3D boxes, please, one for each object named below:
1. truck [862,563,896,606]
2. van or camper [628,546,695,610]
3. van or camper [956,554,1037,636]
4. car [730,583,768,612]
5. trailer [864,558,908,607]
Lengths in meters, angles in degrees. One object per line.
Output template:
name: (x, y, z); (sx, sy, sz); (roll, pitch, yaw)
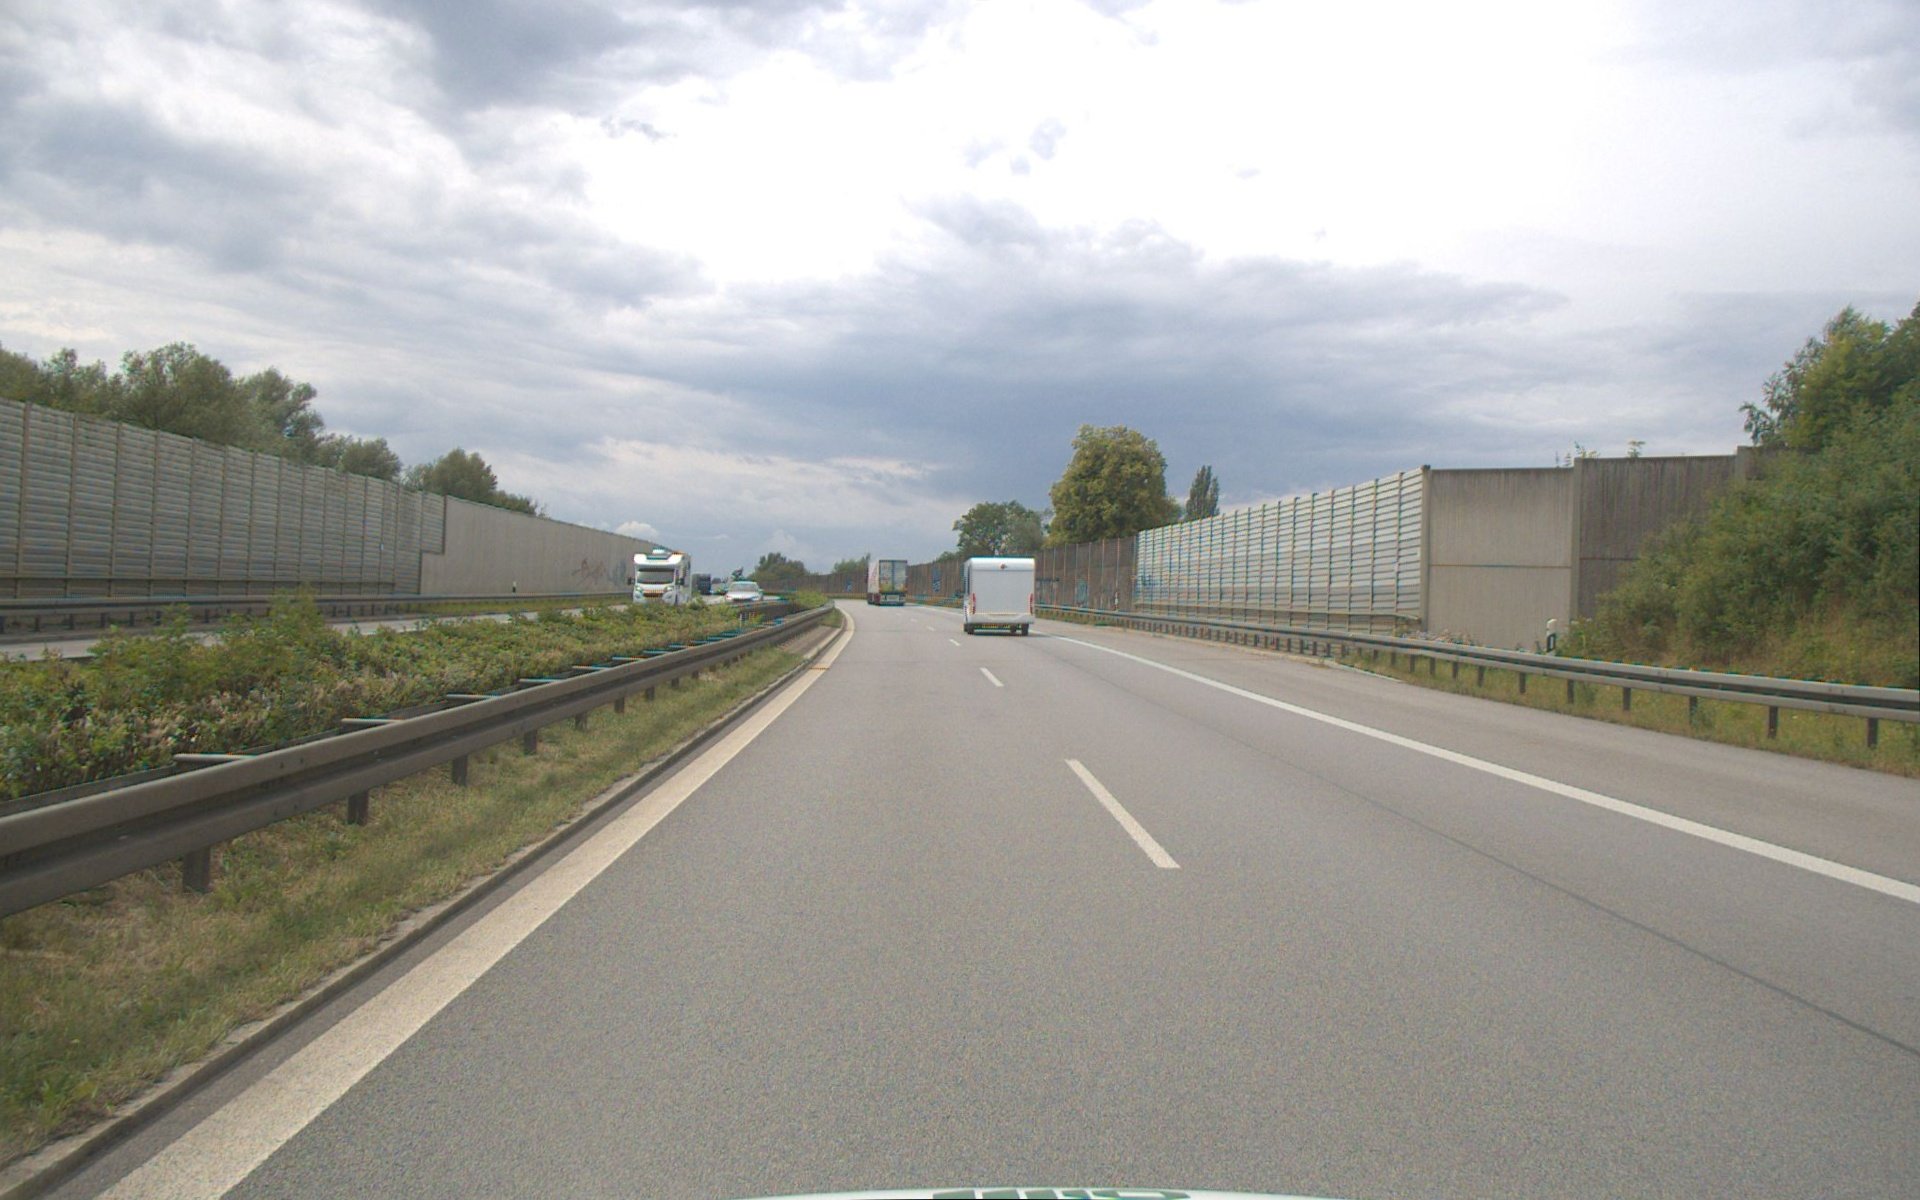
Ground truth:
truck: (-7.858, -1.422, 159.751); (2.705, 4.029, 5.665); (1, -1, -9)
van or camper: (-14.510, -1.039, 80.729); (2.418, 2.920, 7.761); (1, 0, -5)
van or camper: (1.234, -0.191, 60.270); (2.381, 2.744, 7.221); (1, 0, -3)
car: (-10.576, -0.135, 83.120); (1.659, 1.445, 4.643); (0, 0, -5)
trailer: (-6.956, -1.533, 153.039); (2.740, 4.248, 14.076); (1, -1, -8)
